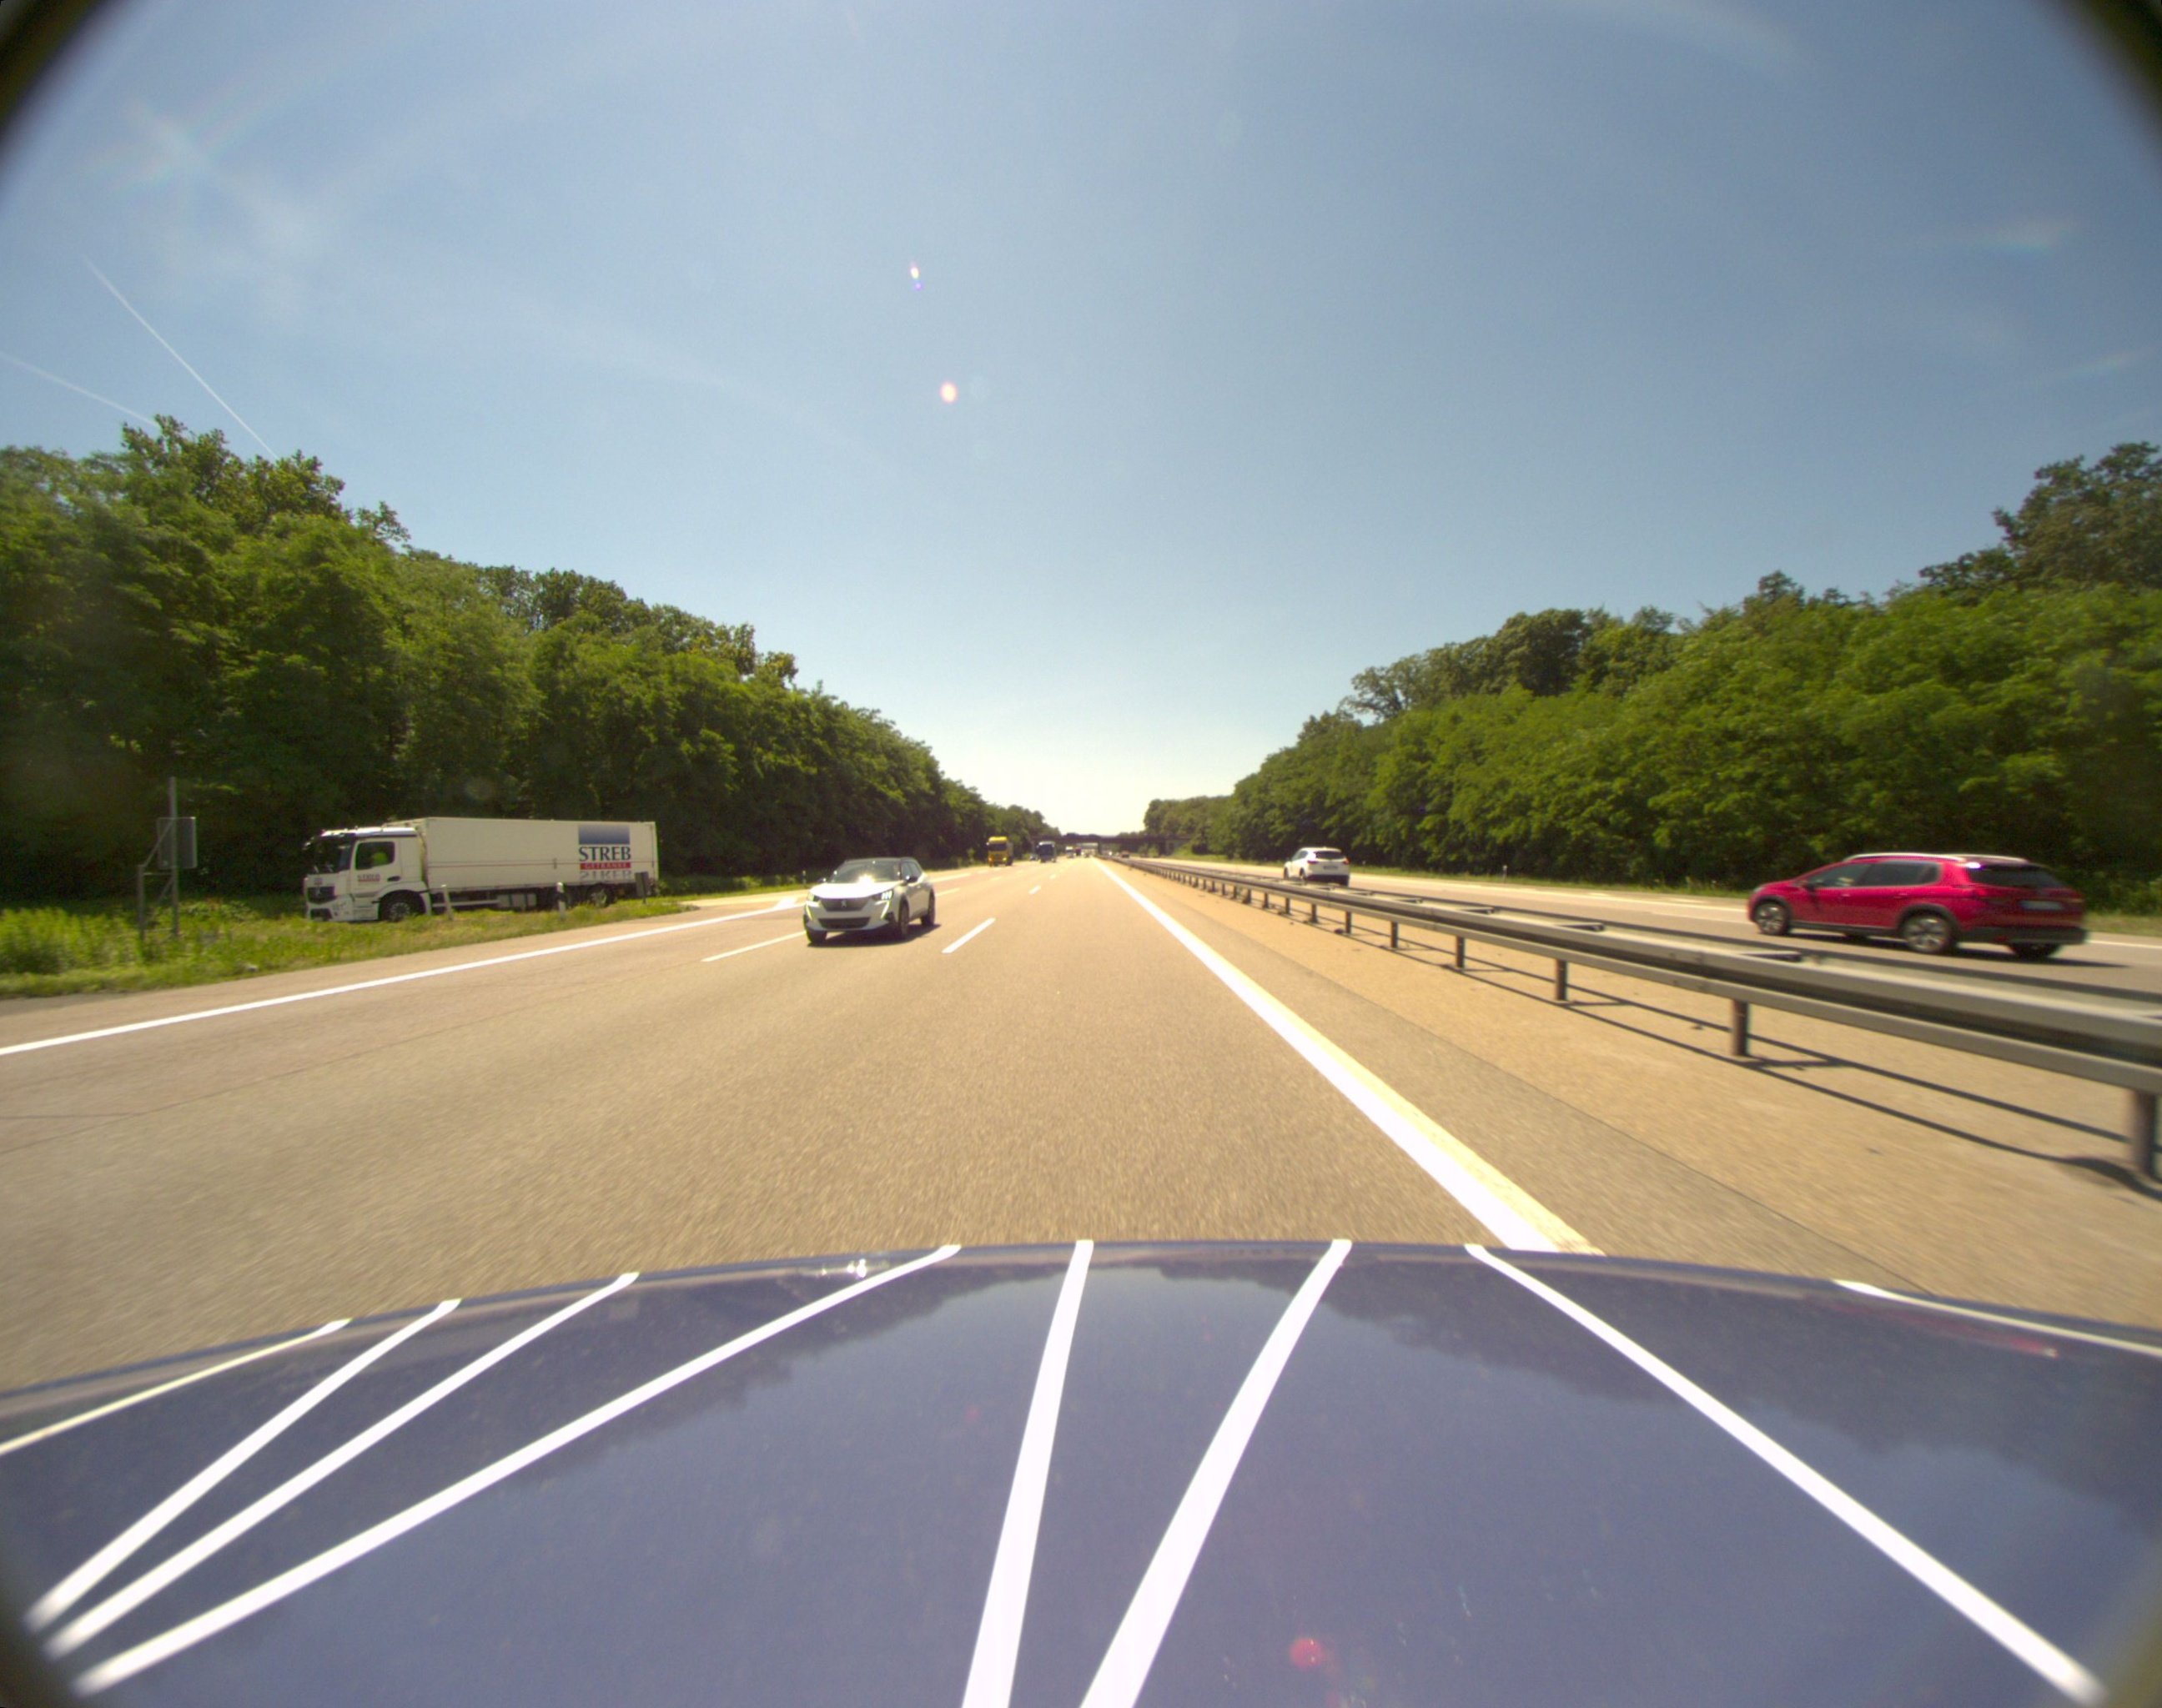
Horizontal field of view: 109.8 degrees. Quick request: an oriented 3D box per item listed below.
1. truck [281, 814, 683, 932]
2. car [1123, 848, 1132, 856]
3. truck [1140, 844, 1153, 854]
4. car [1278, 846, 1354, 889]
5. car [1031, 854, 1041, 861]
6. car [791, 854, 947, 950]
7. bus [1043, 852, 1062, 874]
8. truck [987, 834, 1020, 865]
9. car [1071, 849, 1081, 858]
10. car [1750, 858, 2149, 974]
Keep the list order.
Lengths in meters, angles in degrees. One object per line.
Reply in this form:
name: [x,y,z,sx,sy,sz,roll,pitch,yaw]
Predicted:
truck: [-19.968,0.471,26.760,3.031,3.300,10.787,-2,1,25]
car: [11.771,-0.484,193.398,1.998,1.952,5.211,-2,0,1]
truck: [20.372,-1.584,236.799,2.760,2.973,12.854,0,0,0]
car: [9.848,0.502,32.207,1.767,1.683,4.819,0,0,1]
car: [-10.123,0.717,170.075,1.875,1.547,4.201,-2,0,1]
car: [-4.156,0.844,15.773,1.832,1.599,4.808,-1,0,0]
bus: [-4.943,1.485,135.361,2.617,3.532,13.681,-2,0,0]
truck: [-10.776,-0.708,107.135,2.982,4.013,10.981,-3,0,2]
car: [-1.479,-0.254,215.687,2.616,2.389,7.122,-2,0,0]
car: [13.499,0.845,12.275,1.767,1.486,4.074,1,1,1]
